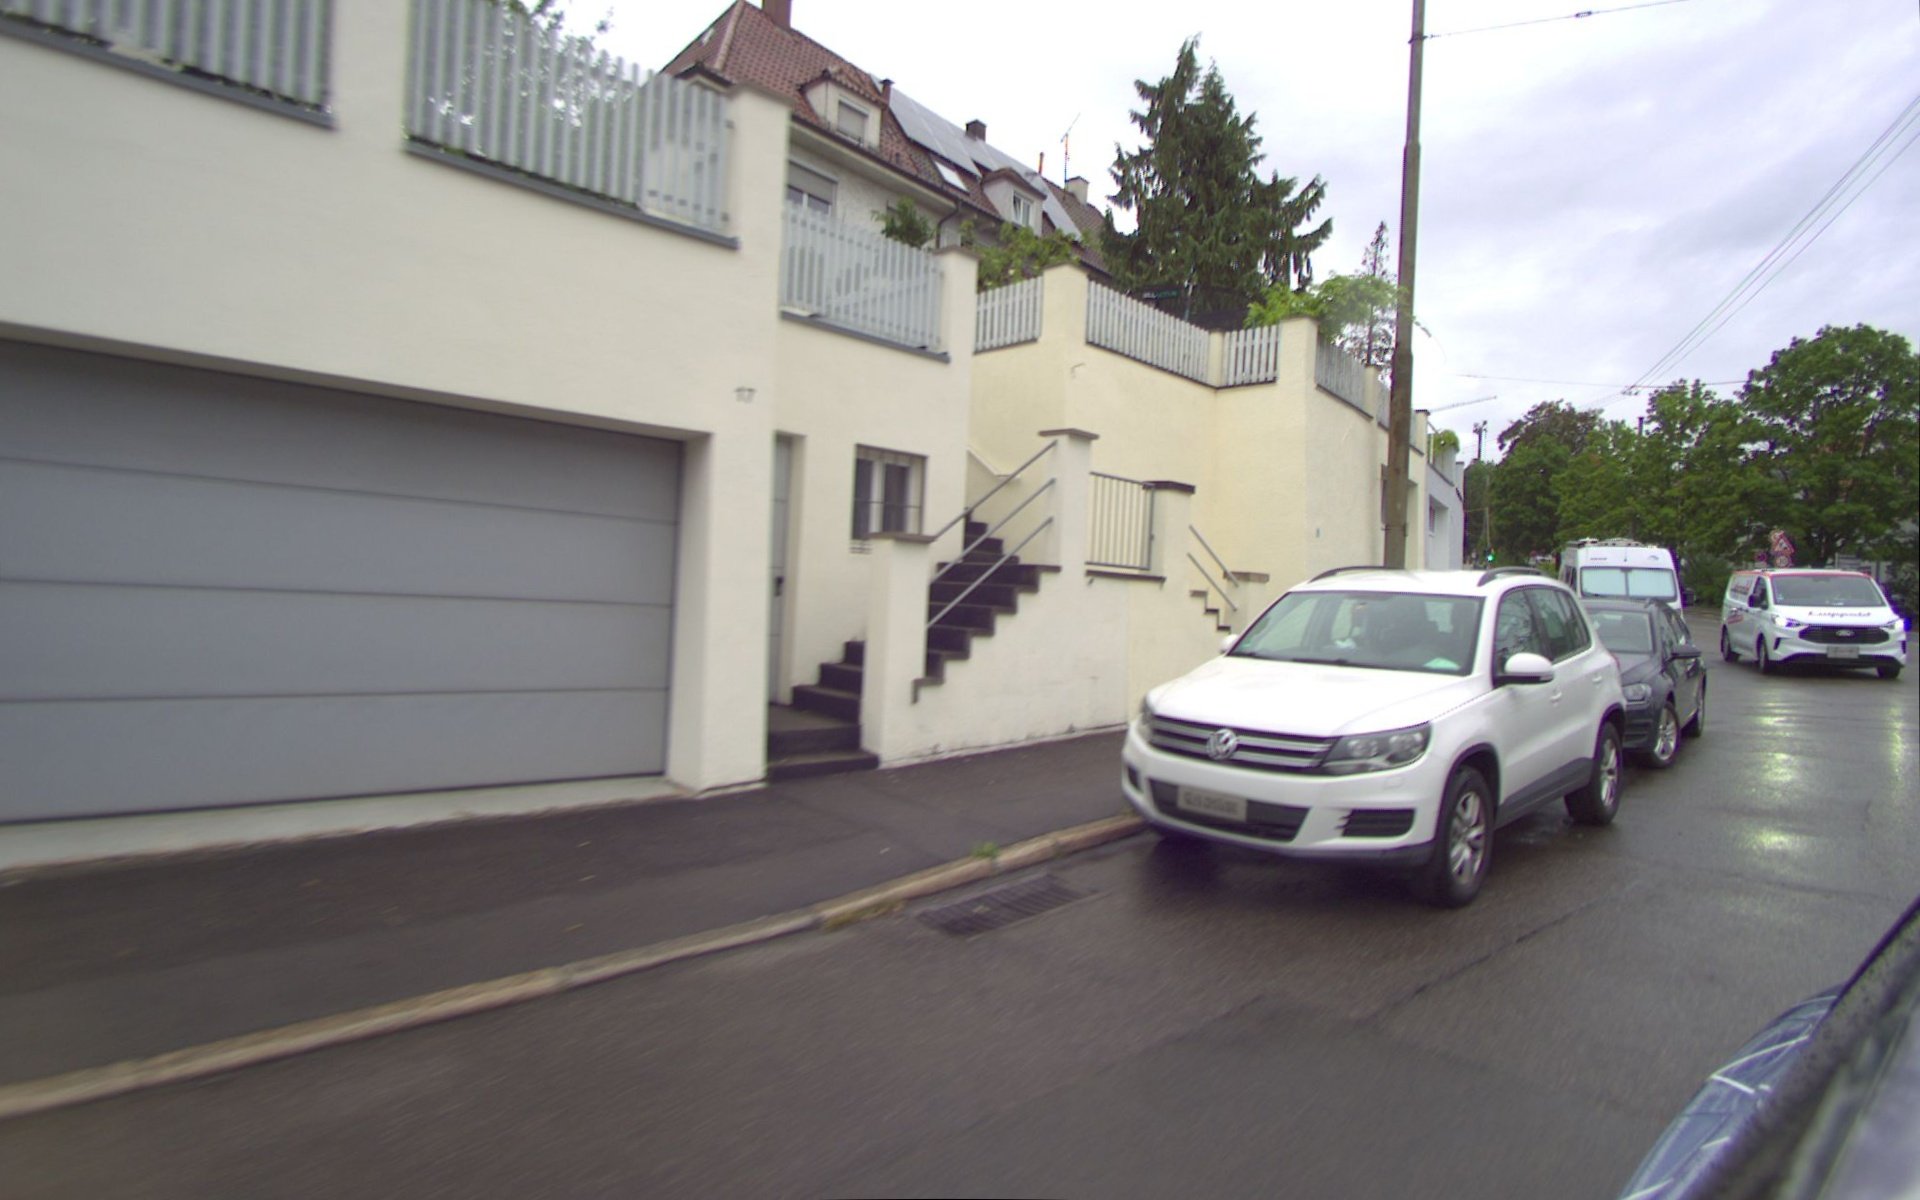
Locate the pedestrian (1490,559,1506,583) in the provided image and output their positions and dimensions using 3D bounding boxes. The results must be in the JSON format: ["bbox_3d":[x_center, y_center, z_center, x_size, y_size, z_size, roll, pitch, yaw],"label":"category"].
[{"bbox_3d":[42.371,-2.284,79.709,0.698,1.839,1.144,2,2,10],"label":"pedestrian"}]

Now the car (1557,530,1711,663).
[{"bbox_3d":[15.185,-0.197,23.155,2.086,2.573,5.570,4,4,26],"label":"car"}]

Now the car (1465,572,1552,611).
[{"bbox_3d":[24.670,-0.438,45.676,1.958,1.453,4.506,3,3,9],"label":"car"}]

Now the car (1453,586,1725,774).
[{"bbox_3d":[6.551,0.618,10.333,1.677,1.502,4.138,1,1,42],"label":"car"}]

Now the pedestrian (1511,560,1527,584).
[{"bbox_3d":[43.998,-2.214,79.595,0.672,1.839,1.152,2,2,10],"label":"pedestrian"}]

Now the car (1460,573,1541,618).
[{"bbox_3d":[20.758,-0.229,39.018,1.685,1.431,4.027,4,4,13],"label":"car"}]

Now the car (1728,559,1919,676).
[{"bbox_3d":[16.559,0.264,19.485,2.023,1.963,4.473,0,1,27],"label":"car"}]

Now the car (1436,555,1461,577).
[{"bbox_3d":[47.270,-3.302,97.909,1.794,1.950,4.533,6,5,28],"label":"car"}]

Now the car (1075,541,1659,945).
[{"bbox_3d":[2.743,0.555,6.268,4.140,1.669,1.805,0,2,-44],"label":"car"}]

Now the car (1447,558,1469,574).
[{"bbox_3d":[53.061,-3.640,107.791,1.712,1.627,4.416,4,5,30],"label":"car"}]
